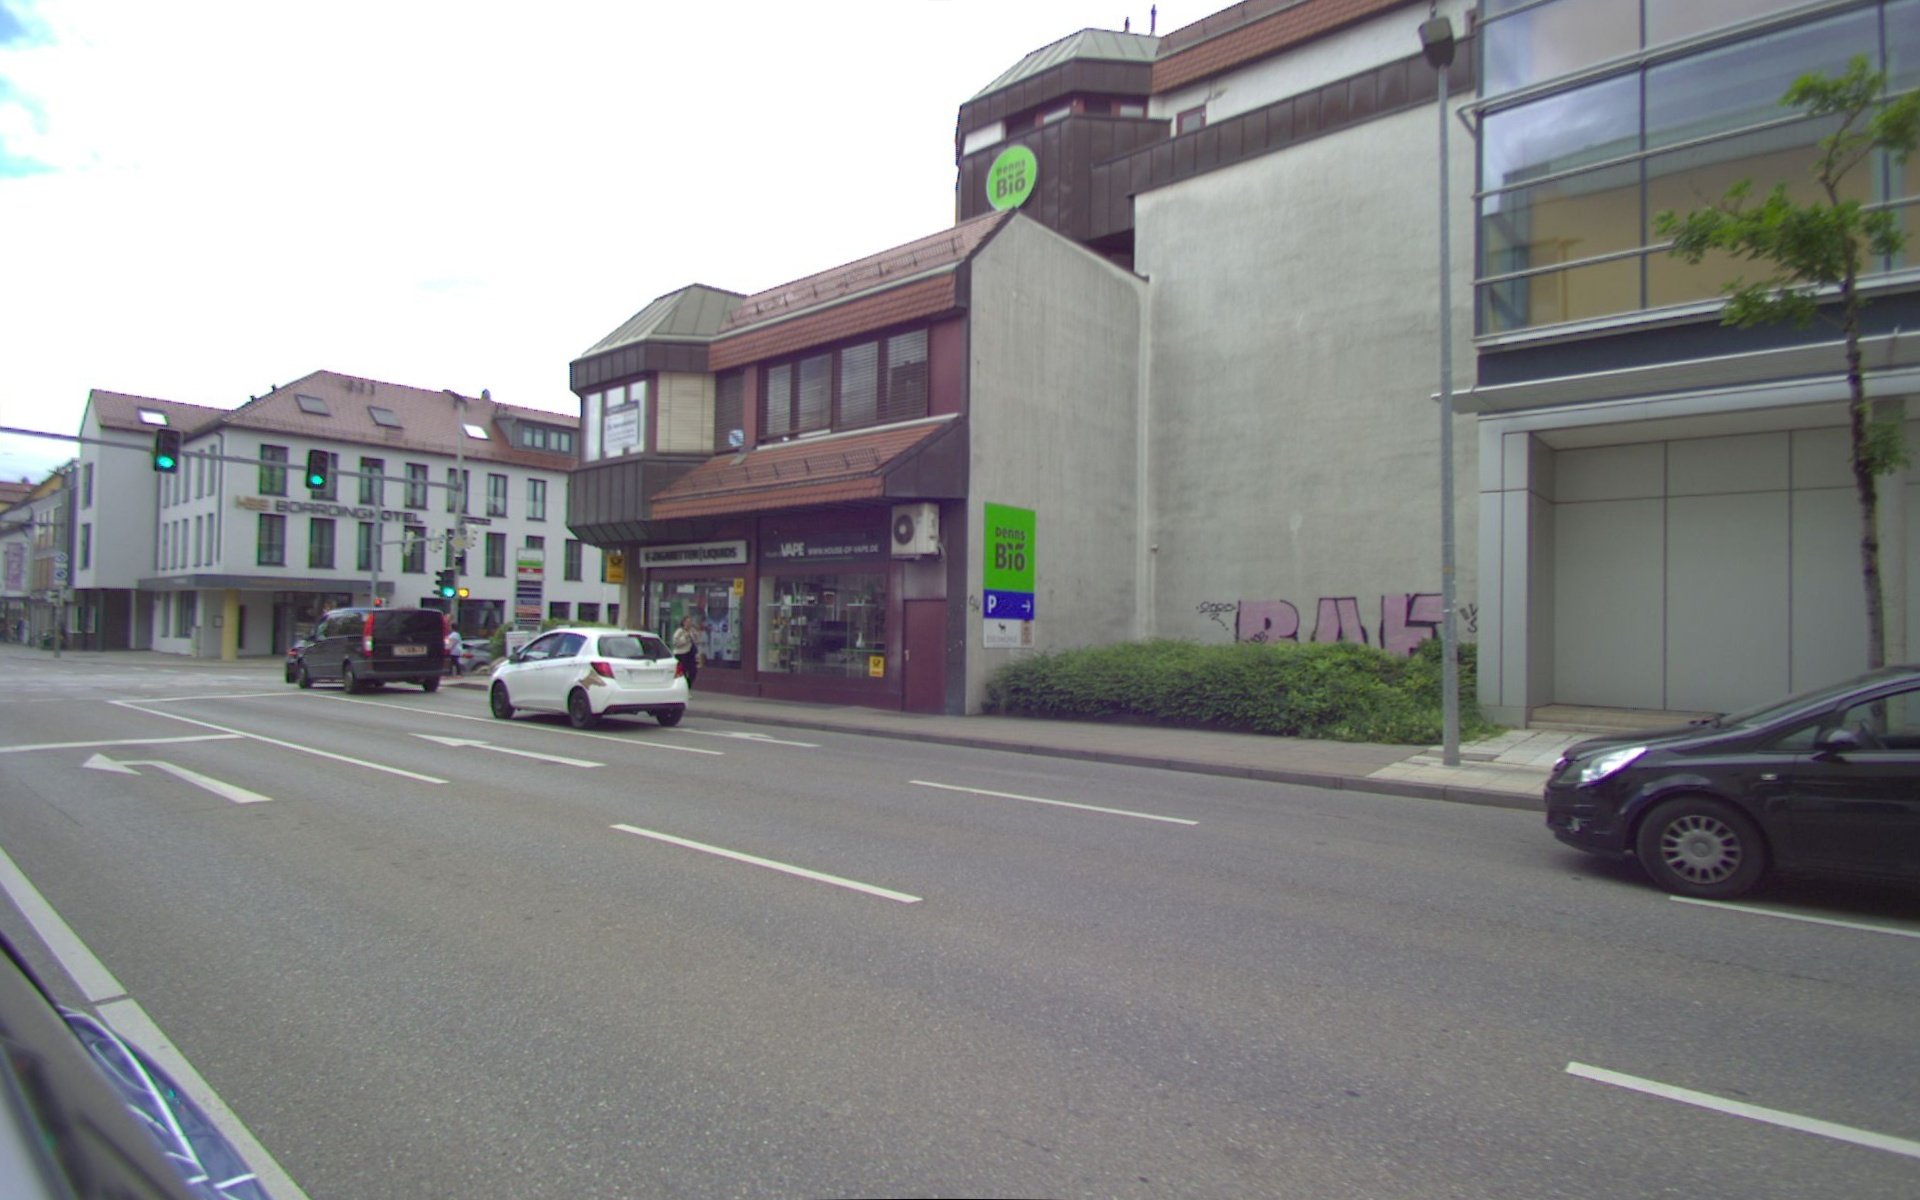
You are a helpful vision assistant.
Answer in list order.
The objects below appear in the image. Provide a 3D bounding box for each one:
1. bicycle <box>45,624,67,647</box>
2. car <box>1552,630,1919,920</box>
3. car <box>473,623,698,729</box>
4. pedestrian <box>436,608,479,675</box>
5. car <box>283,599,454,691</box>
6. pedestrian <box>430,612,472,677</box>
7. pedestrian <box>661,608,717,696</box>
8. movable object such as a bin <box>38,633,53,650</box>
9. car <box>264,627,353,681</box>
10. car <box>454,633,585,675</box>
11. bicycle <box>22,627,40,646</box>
[{"bbox_3d":[-49.608,1.949,55.523,2.117,1.241,0.576,-1,-2,40],"label":"bicycle"},{"bbox_3d":[5.763,0.948,5.760,3.992,1.491,1.645,-1,-3,36],"label":"car"},{"bbox_3d":[-6.049,1.133,16.157,3.998,1.476,1.643,-1,-3,41],"label":"car"},{"bbox_3d":[-14.060,1.150,28.317,0.773,1.822,0.804,-1,-1,33],"label":"pedestrian"},{"bbox_3d":[-13.807,1.006,23.486,5.111,1.924,1.846,-1,-3,41],"label":"car"},{"bbox_3d":[-14.583,1.271,29.007,0.744,1.822,0.804,-1,-1,33],"label":"pedestrian"},{"bbox_3d":[-5.368,1.017,20.030,0.776,1.706,0.742,-1,-2,36],"label":"pedestrian"},{"bbox_3d":[-51.643,2.347,57.142,0.506,0.906,0.545,-1,-1,39],"label":"movable object such as a bin"},{"bbox_3d":[-19.236,1.543,30.020,1.678,1.454,4.013,1,-1,-25],"label":"car"},{"bbox_3d":[-16.980,2.095,39.217,1.762,1.529,4.330,-2,-4,38],"label":"car"},{"bbox_3d":[-54.822,2.167,59.716,1.901,1.109,0.566,-1,-2,41],"label":"bicycle"}]
